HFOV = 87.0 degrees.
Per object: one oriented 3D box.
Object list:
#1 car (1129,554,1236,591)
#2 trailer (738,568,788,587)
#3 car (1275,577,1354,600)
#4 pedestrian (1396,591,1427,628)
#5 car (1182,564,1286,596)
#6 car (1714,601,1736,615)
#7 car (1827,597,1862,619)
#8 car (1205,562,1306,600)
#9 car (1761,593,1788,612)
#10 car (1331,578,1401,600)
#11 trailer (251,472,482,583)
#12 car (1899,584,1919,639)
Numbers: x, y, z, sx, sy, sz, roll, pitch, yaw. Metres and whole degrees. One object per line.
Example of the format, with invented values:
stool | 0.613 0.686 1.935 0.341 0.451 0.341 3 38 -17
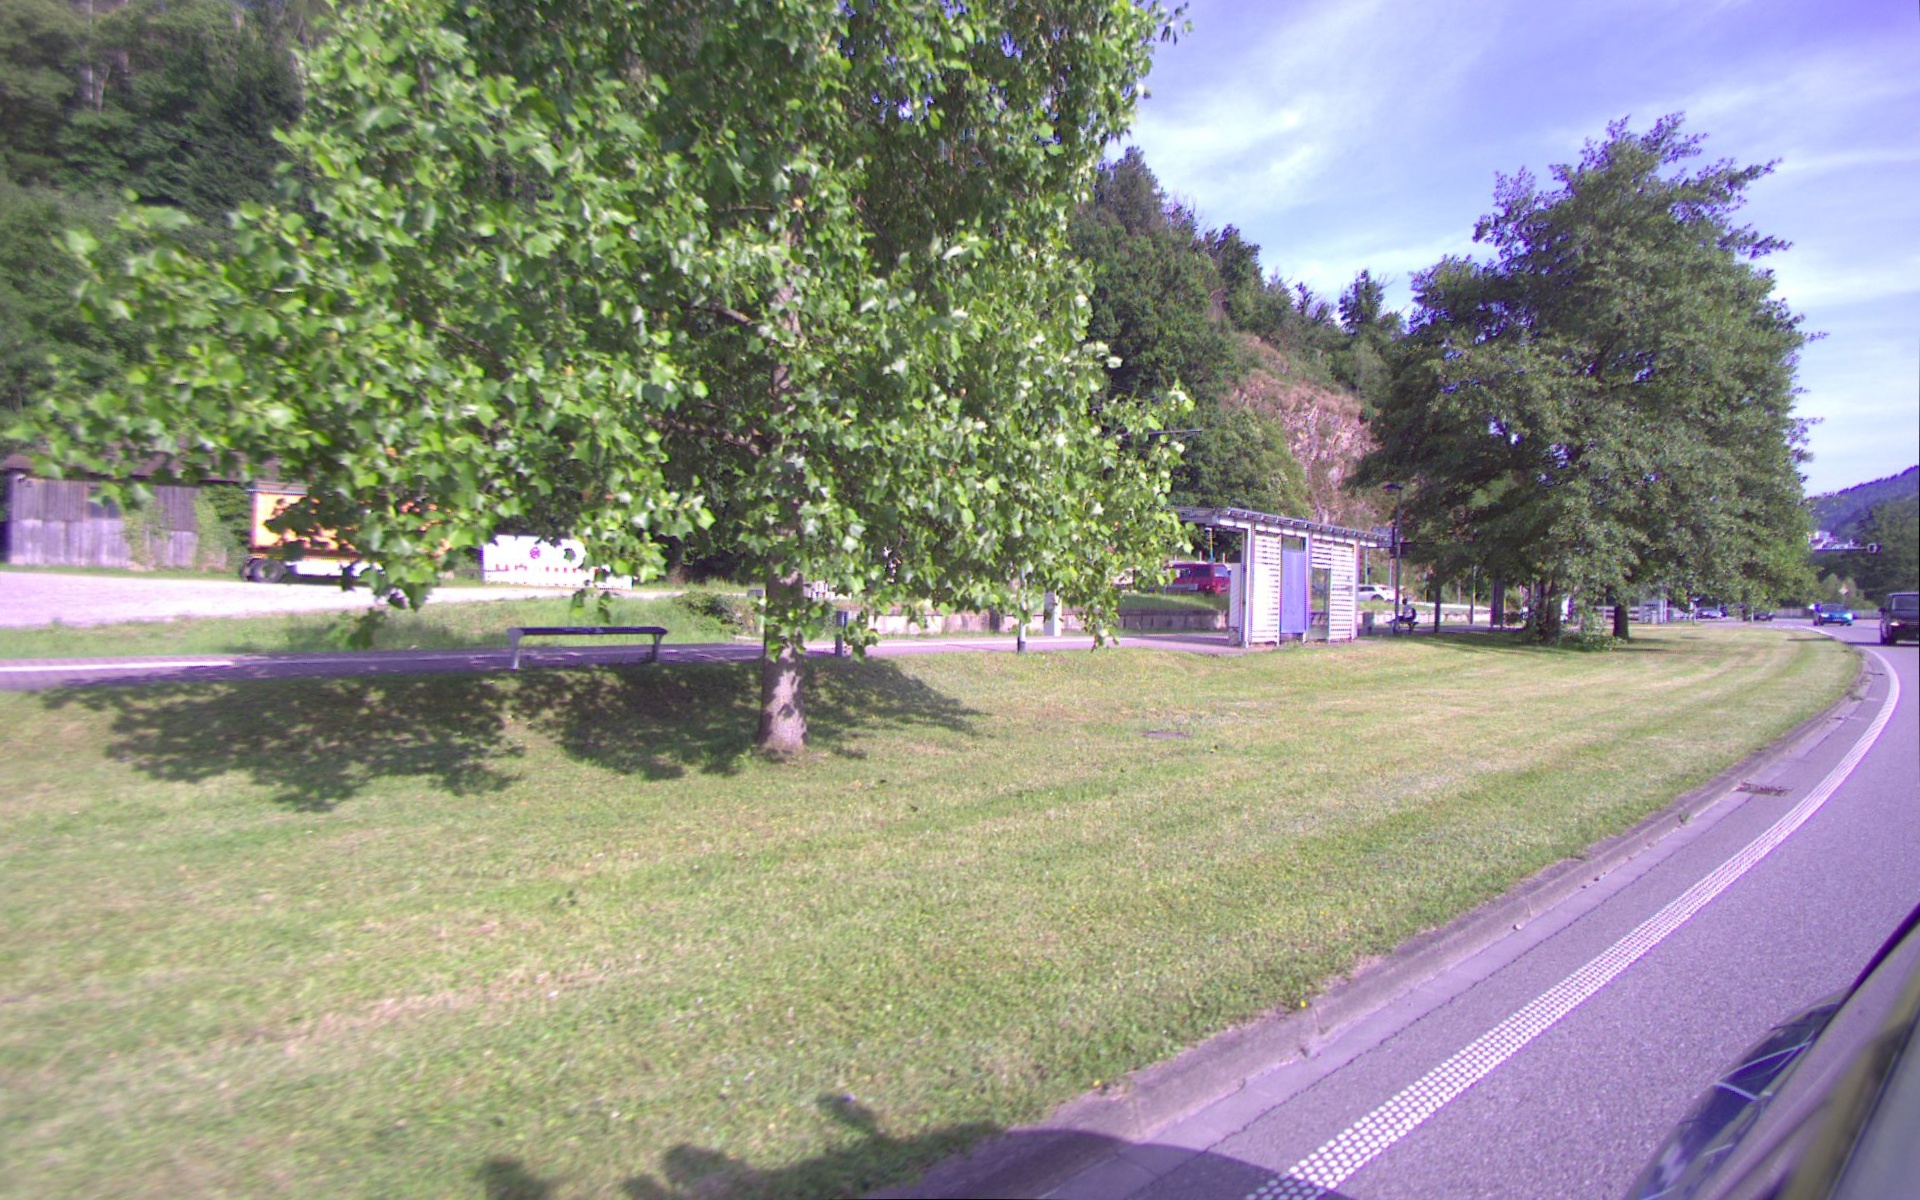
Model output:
car | 11.013 -1.345 50.305 4.951 1.712 1.905 1 0 44
trailer | -10.216 -1.196 52.415 1.702 0.926 3.077 1 1 -28
car | 21.959 -0.728 62.807 4.265 1.360 1.803 1 0 44
pedestrian | 14.648 0.298 32.859 0.713 1.175 0.637 1 2 -38
car | 14.539 -1.047 53.858 4.951 1.607 2.107 1 0 44
car | 90.754 0.967 120.134 1.866 1.478 3.682 3 2 35
car | 63.225 0.566 72.348 1.762 1.478 3.523 3 2 41
car | 16.187 -1.020 55.548 4.951 1.968 2.107 1 0 44
car | 81.131 0.228 100.801 1.992 1.816 3.942 3 2 40
car | 27.472 -0.736 68.566 4.096 1.416 1.781 1 0 44
trailer | -23.098 -2.727 39.855 7.574 3.941 2.620 1 2 -28
car | 35.114 0.396 36.360 1.904 1.903 4.278 -1 -1 44
